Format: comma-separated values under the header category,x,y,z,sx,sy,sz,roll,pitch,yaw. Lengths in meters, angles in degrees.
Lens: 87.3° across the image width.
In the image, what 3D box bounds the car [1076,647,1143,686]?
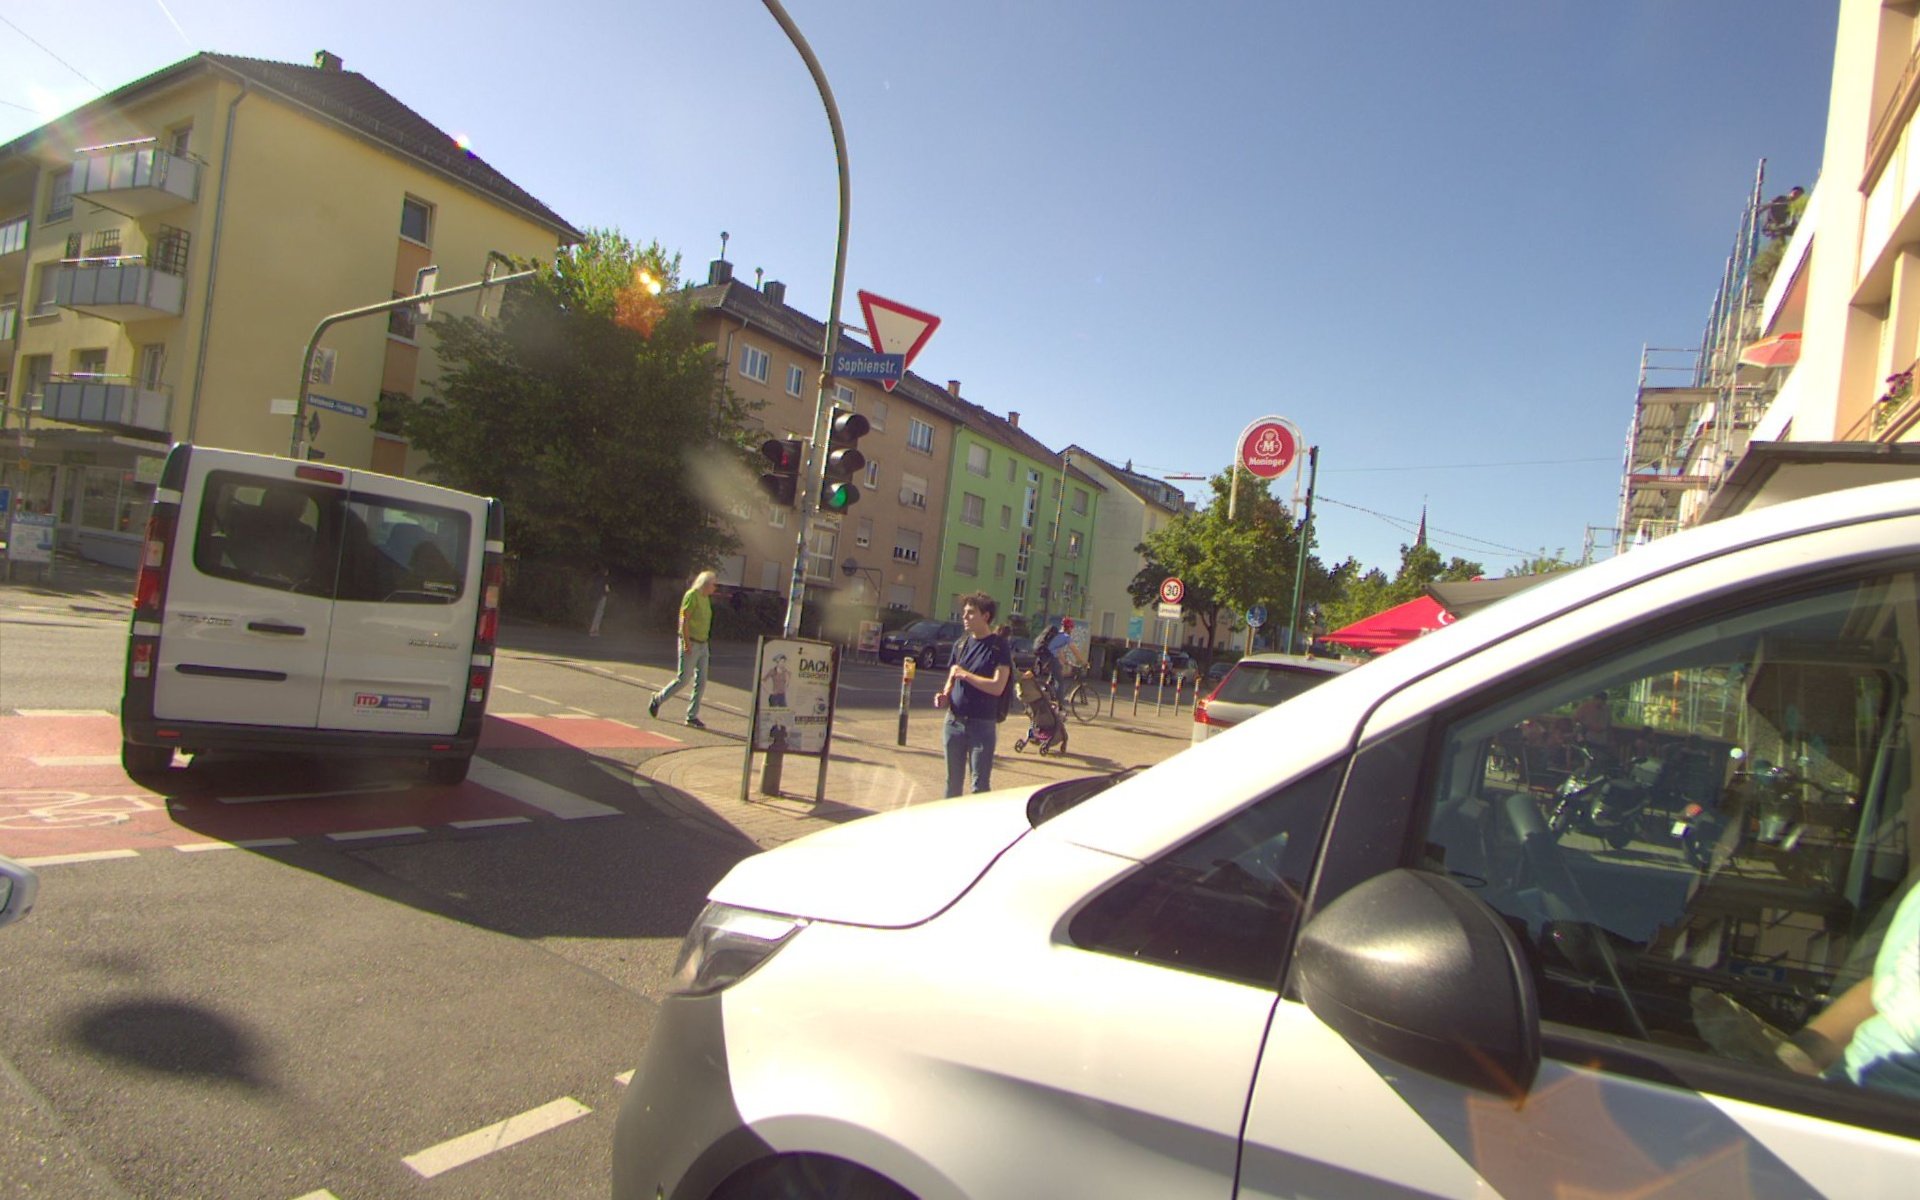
category,x,y,z,sx,sy,sz,roll,pitch,yaw
car,6.907,3.087,46.279,1.658,1.428,3.516,7,-1,32

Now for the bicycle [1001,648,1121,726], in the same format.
category,x,y,z,sx,sy,sz,roll,pitch,yaw
bicycle,1.909,1.639,18.914,2.115,1.269,0.799,7,-4,-30

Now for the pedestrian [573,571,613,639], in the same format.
category,x,y,z,sx,sy,sz,roll,pitch,yaw
pedestrian,-9.058,0.123,24.842,0.530,1.590,0.540,7,0,32

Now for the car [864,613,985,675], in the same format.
category,x,y,z,sx,sy,sz,roll,pitch,yaw
car,-1.101,1.494,33.244,1.967,1.592,3.993,7,-1,32

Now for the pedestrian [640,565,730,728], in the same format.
category,x,y,z,sx,sy,sz,roll,pitch,yaw
pedestrian,-3.177,0.536,11.649,0.613,1.783,0.526,7,0,30

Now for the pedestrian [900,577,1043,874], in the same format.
category,x,y,z,sx,sy,sz,roll,pitch,yaw
pedestrian,0.091,0.820,6.811,0.594,1.844,0.629,7,0,17

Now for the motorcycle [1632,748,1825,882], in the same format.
category,x,y,z,sx,sy,sz,roll,pitch,yaw
motorcycle,8.129,2.282,10.633,1.986,1.180,0.565,8,-1,-21

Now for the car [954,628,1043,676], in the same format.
category,x,y,z,sx,sy,sz,roll,pitch,yaw
car,1.480,1.962,37.678,1.658,1.428,3.516,7,-1,32

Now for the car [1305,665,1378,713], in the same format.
category,x,y,z,sx,sy,sz,roll,pitch,yaw
car,14.269,3.345,37.483,1.686,1.470,3.993,7,-2,32

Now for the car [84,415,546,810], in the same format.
category,x,y,z,sx,sy,sz,roll,pitch,yaw
car,-4.866,0.084,7.729,1.957,1.961,5.012,9,-3,-34

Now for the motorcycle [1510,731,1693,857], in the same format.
category,x,y,z,sx,sy,sz,roll,pitch,yaw
motorcycle,7.206,2.185,11.285,1.986,1.180,0.565,8,-1,-21

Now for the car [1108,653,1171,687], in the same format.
category,x,y,z,sx,sy,sz,roll,pitch,yaw
car,8.868,3.456,49.543,1.658,1.352,3.516,7,-1,33

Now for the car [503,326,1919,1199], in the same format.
category,x,y,z,sx,sy,sz,roll,pitch,yaw
car,1.779,0.823,1.388,4.752,1.831,1.972,6,-1,31

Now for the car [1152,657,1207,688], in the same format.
category,x,y,z,sx,sy,sz,roll,pitch,yaw
car,11.886,3.910,54.269,1.658,1.352,3.516,7,-1,33

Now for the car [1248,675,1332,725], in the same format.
category,x,y,z,sx,sy,sz,roll,pitch,yaw
car,11.108,3.360,33.674,1.686,1.329,3.994,7,-2,32

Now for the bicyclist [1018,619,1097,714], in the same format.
category,x,y,z,sx,sy,sz,roll,pitch,yaw
bicyclist,1.828,1.246,18.886,1.113,1.667,0.799,7,-4,-30

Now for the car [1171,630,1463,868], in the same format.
category,x,y,z,sx,sy,sz,roll,pitch,yaw
car,3.769,1.379,10.114,1.795,1.682,3.993,7,-1,32
